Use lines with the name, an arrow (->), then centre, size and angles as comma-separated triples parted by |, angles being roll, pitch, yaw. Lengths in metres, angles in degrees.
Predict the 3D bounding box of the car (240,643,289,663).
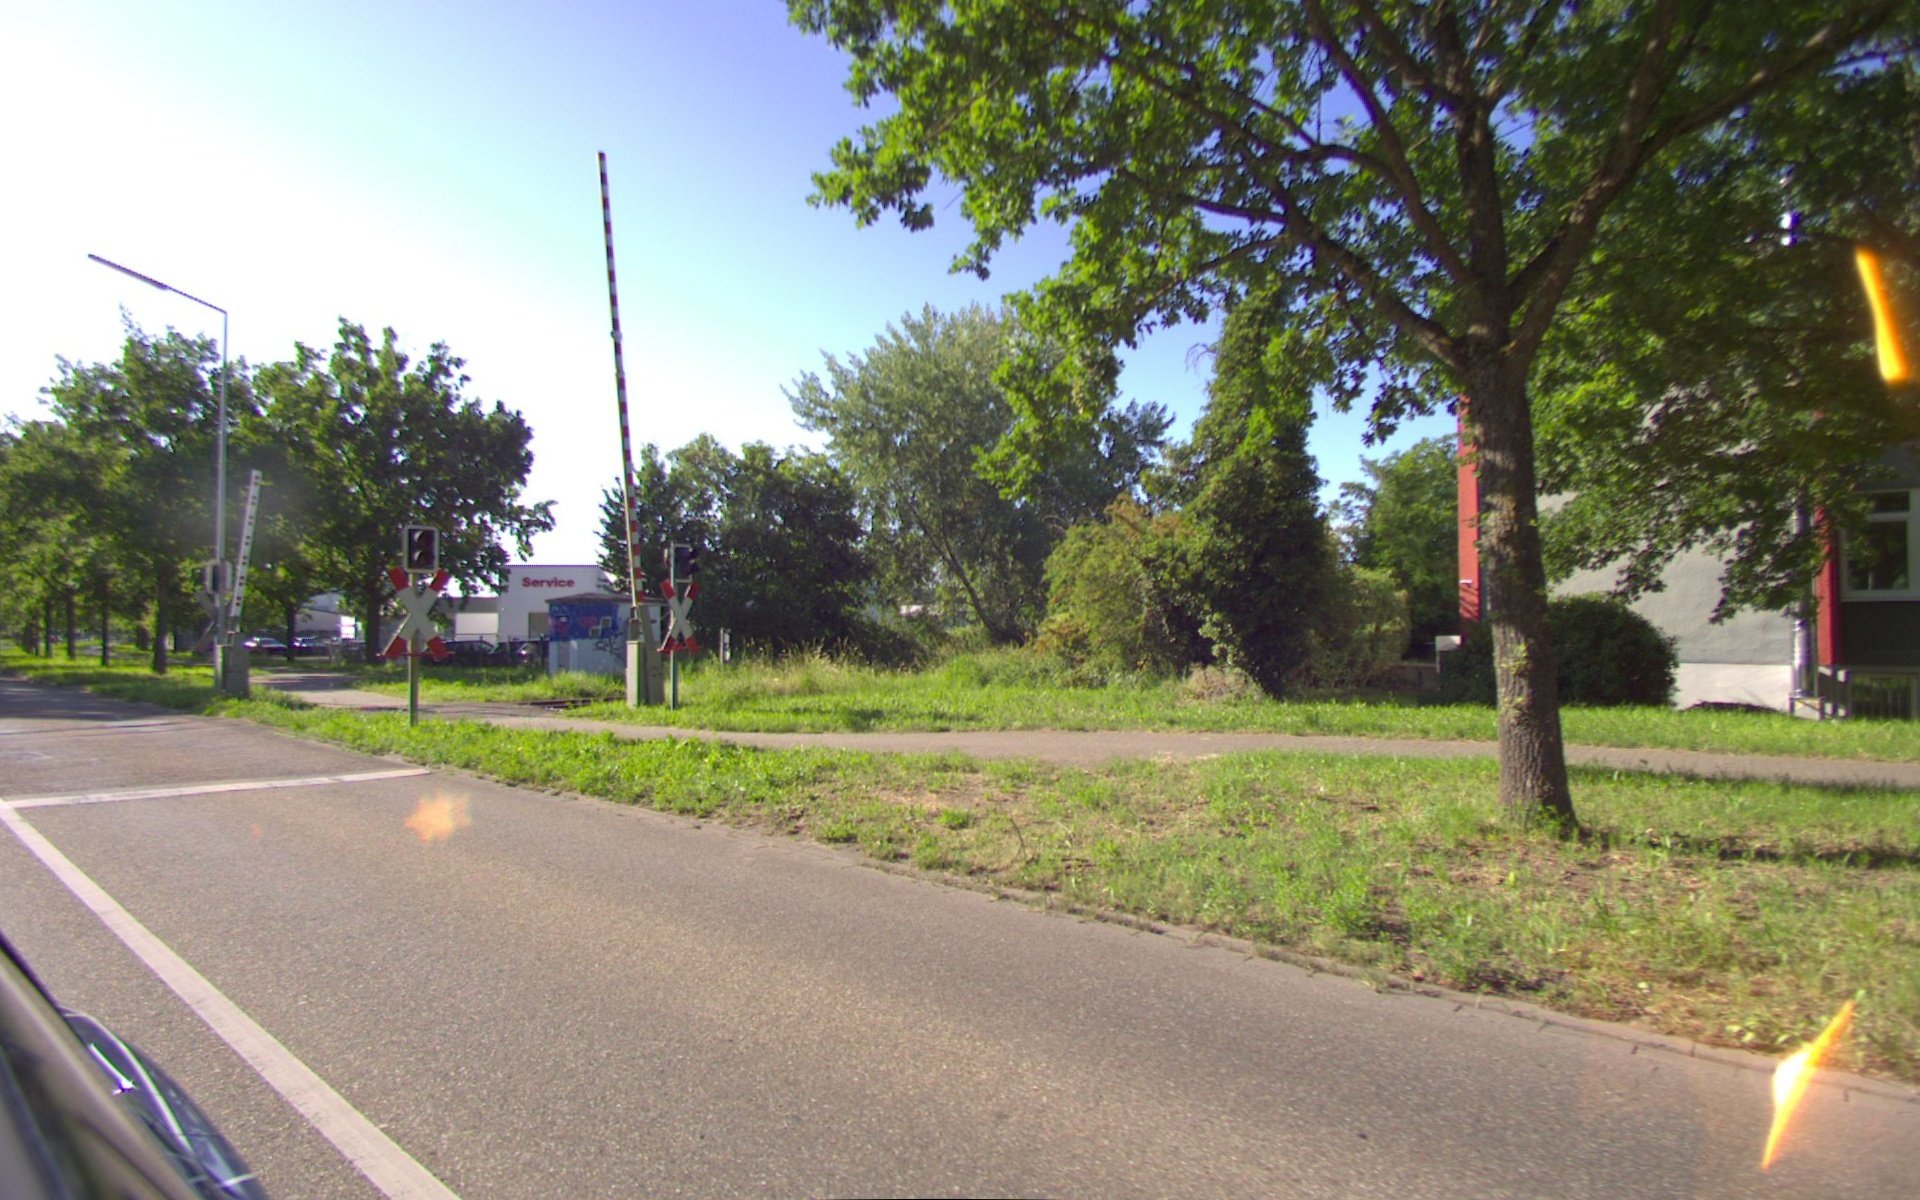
car -> -63.372, 4.813, 92.209 | 4.481, 1.688, 1.980 | -2, -1, 30

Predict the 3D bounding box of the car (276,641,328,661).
car -> -61.416, 4.759, 94.423 | 5.241, 1.730, 1.979 | -2, -1, 31

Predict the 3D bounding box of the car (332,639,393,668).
car -> -37.108, 3.293, 62.813 | 5.016, 1.610, 1.971 | -2, -1, 44

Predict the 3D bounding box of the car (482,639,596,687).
car -> -18.341, 2.691, 44.177 | 1.998, 1.815, 4.148 | -2, -1, 39

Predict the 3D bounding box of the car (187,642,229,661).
car -> -60.696, 4.135, 81.717 | 2.531, 1.481, 1.430 | 1, -2, -28

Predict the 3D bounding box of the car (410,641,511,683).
car -> -24.259, 2.967, 49.233 | 1.997, 1.815, 3.950 | -2, -1, 37

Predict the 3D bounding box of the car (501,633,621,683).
car -> -16.497, 2.365, 41.987 | 1.998, 1.815, 4.148 | -2, -1, 39
